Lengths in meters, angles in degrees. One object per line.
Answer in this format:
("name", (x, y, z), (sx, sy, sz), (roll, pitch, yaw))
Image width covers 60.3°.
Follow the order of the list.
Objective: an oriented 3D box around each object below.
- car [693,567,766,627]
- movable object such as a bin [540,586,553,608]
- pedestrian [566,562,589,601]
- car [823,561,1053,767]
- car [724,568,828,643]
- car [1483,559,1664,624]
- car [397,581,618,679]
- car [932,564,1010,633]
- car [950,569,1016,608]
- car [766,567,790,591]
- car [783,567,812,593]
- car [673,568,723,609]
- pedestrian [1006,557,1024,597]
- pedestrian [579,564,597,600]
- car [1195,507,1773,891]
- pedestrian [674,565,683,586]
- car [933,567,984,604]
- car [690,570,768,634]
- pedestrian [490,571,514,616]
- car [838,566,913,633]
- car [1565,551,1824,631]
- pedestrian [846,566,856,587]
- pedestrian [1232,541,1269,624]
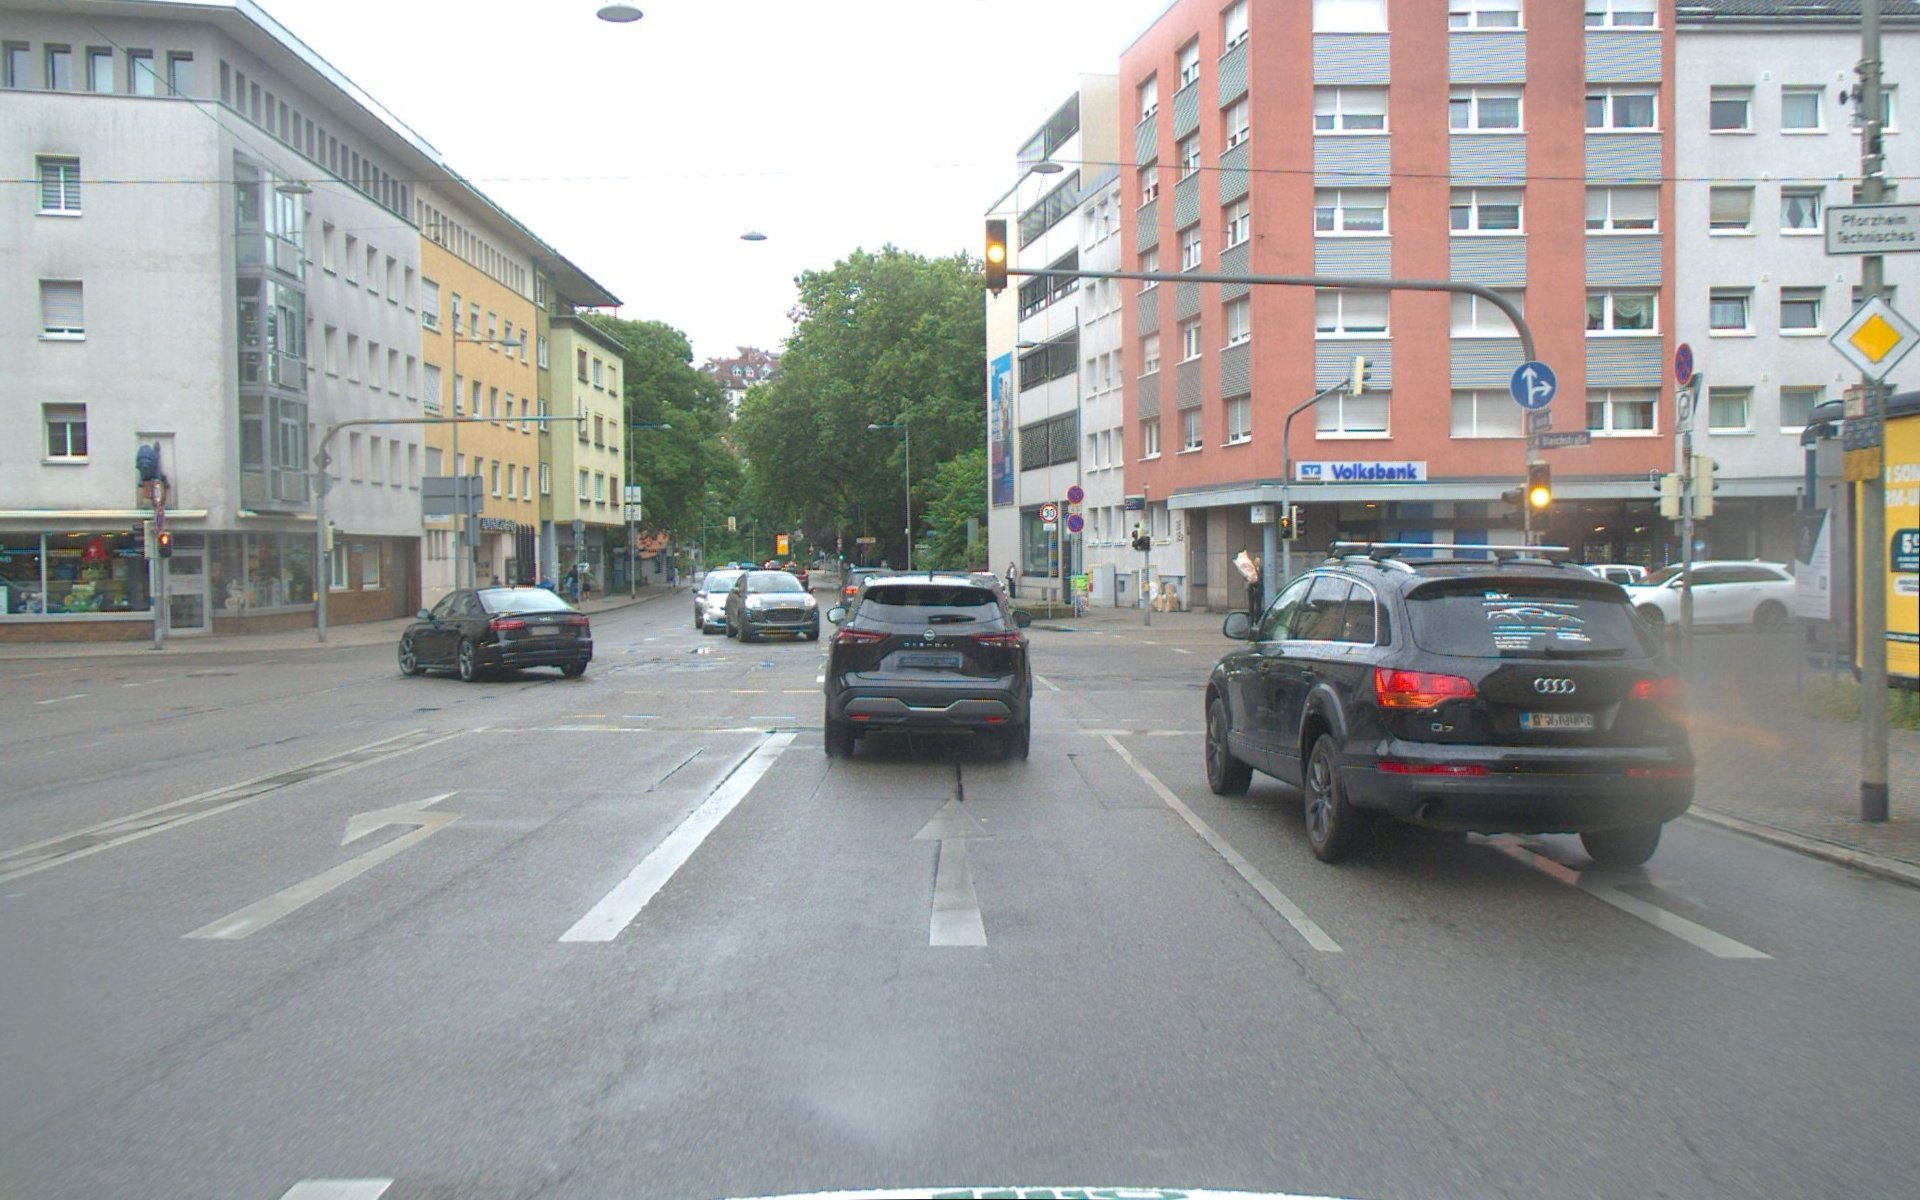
("car", (-6.758, -0.099, 48.861), (1.785, 1.636, 4.427), (-1, 0, -4))
("movable object such as a bin", (-18.314, -0.138, 73.316), (0.445, 0.945, 0.502), (-1, 1, -1))
("pedestrian", (-18.199, -0.866, 78.652), (0.848, 1.819, 0.875), (2, 1, -2))
("car", (-0.318, 0.502, 15.532), (1.857, 1.657, 3.997), (1, 1, -4))
("car", (-4.285, 0.100, 37.938), (1.825, 1.580, 4.211), (-1, 1, -14))
("car", (15.258, -0.223, 41.239), (3.867, 1.512, 1.702), (-1, 1, -2))
("car", (-7.318, 0.433, 26.485), (1.978, 1.412, 4.442), (-1, 1, -36))
("car", (0.275, -0.071, 48.509), (1.907, 1.848, 3.997), (-3, 1, -4))
("car", (0.874, -0.488, 65.918), (1.742, 1.425, 4.569), (-3, 2, -10))
("car", (-14.684, -1.717, 133.493), (1.786, 1.827, 3.861), (1, 1, -6))
("car", (-10.755, -1.329, 109.460), (1.786, 1.640, 3.860), (1, 1, -7))
("car", (-12.886, -0.601, 81.554), (1.953, 1.892, 3.999), (1, 1, -2))
("pedestrian", (2.482, -1.034, 74.766), (0.602, 1.767, 0.678), (-3, 1, -15))
("pedestrian", (-18.217, -0.893, 81.049), (0.783, 1.717, 0.816), (-1, 1, -9))
("car", (2.988, 0.483, 10.749), (1.981, 1.902, 4.897), (1, 0, -3))
("pedestrian", (-24.843, -2.142, 145.958), (0.655, 1.822, 0.719), (1, 1, -15))
("car", (-0.092, -0.650, 72.525), (1.682, 1.467, 4.076), (-3, 2, -7))
("car", (-6.064, 0.044, 43.644), (1.898, 1.553, 4.128), (-1, 0, -8))
("pedestrian", (-16.684, -0.246, 60.296), (0.673, 1.609, 0.652), (1, 1, -1))
("car", (-2.413, -0.040, 46.484), (1.908, 1.714, 3.996), (-3, 1, -5))
("car", (15.211, -0.204, 34.394), (4.558, 1.512, 1.919), (-1, 1, -4))
("pedestrian", (-9.952, -2.151, 151.063), (0.708, 1.822, 0.665), (2, 1, 40))
("pedestrian", (7.788, -0.463, 44.382), (0.809, 2.196, 0.769), (1, 1, -2))
